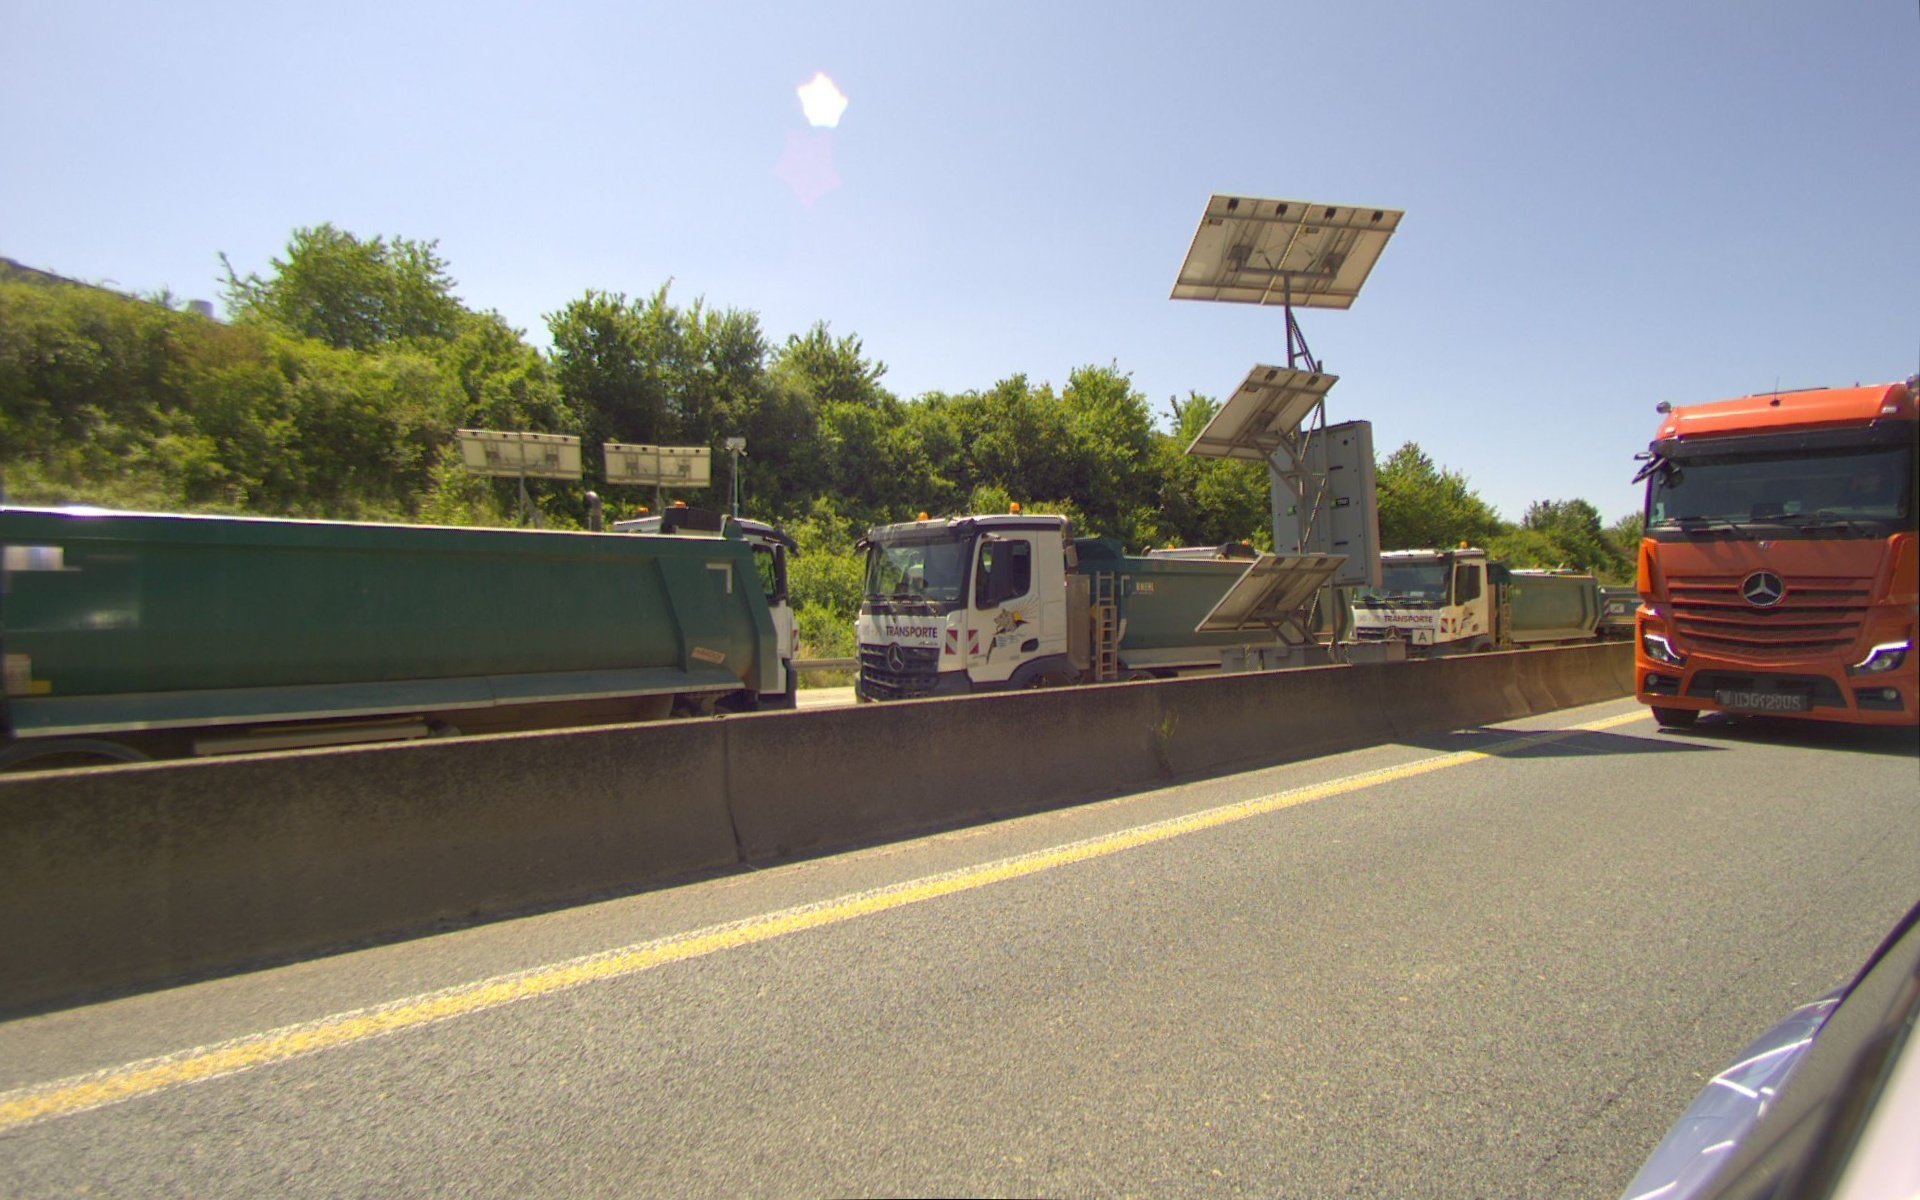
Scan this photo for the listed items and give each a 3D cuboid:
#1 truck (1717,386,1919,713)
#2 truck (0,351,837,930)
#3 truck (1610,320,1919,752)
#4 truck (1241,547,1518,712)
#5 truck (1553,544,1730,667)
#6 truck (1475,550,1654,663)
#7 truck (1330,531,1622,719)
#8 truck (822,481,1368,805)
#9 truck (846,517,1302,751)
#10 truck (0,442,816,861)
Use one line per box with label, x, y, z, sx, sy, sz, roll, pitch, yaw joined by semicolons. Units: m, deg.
truck;16.433;-0.693;17.281;12.984;4.061;2.687;-1;0;-40
truck;-5.574;0.242;8.454;9.164;3.602;2.691;0;0;-42
truck;10.810;-0.637;12.579;6.605;4.061;2.688;-1;0;-40
truck;11.127;0.628;26.152;9.434;3.602;2.692;0;0;-41
truck;22.959;0.147;33.814;9.434;3.602;2.543;0;0;-41
truck;21.887;0.187;36.341;9.434;3.602;2.692;0;0;-41
truck;12.291;0.464;23.547;9.434;3.602;2.692;0;0;-41
truck;2.559;0.460;15.301;9.239;3.602;2.692;0;0;-40
truck;2.569;0.477;18.828;9.432;3.421;2.692;0;0;-40
truck;-6.328;0.409;11.459;9.437;3.420;2.691;0;0;-42
